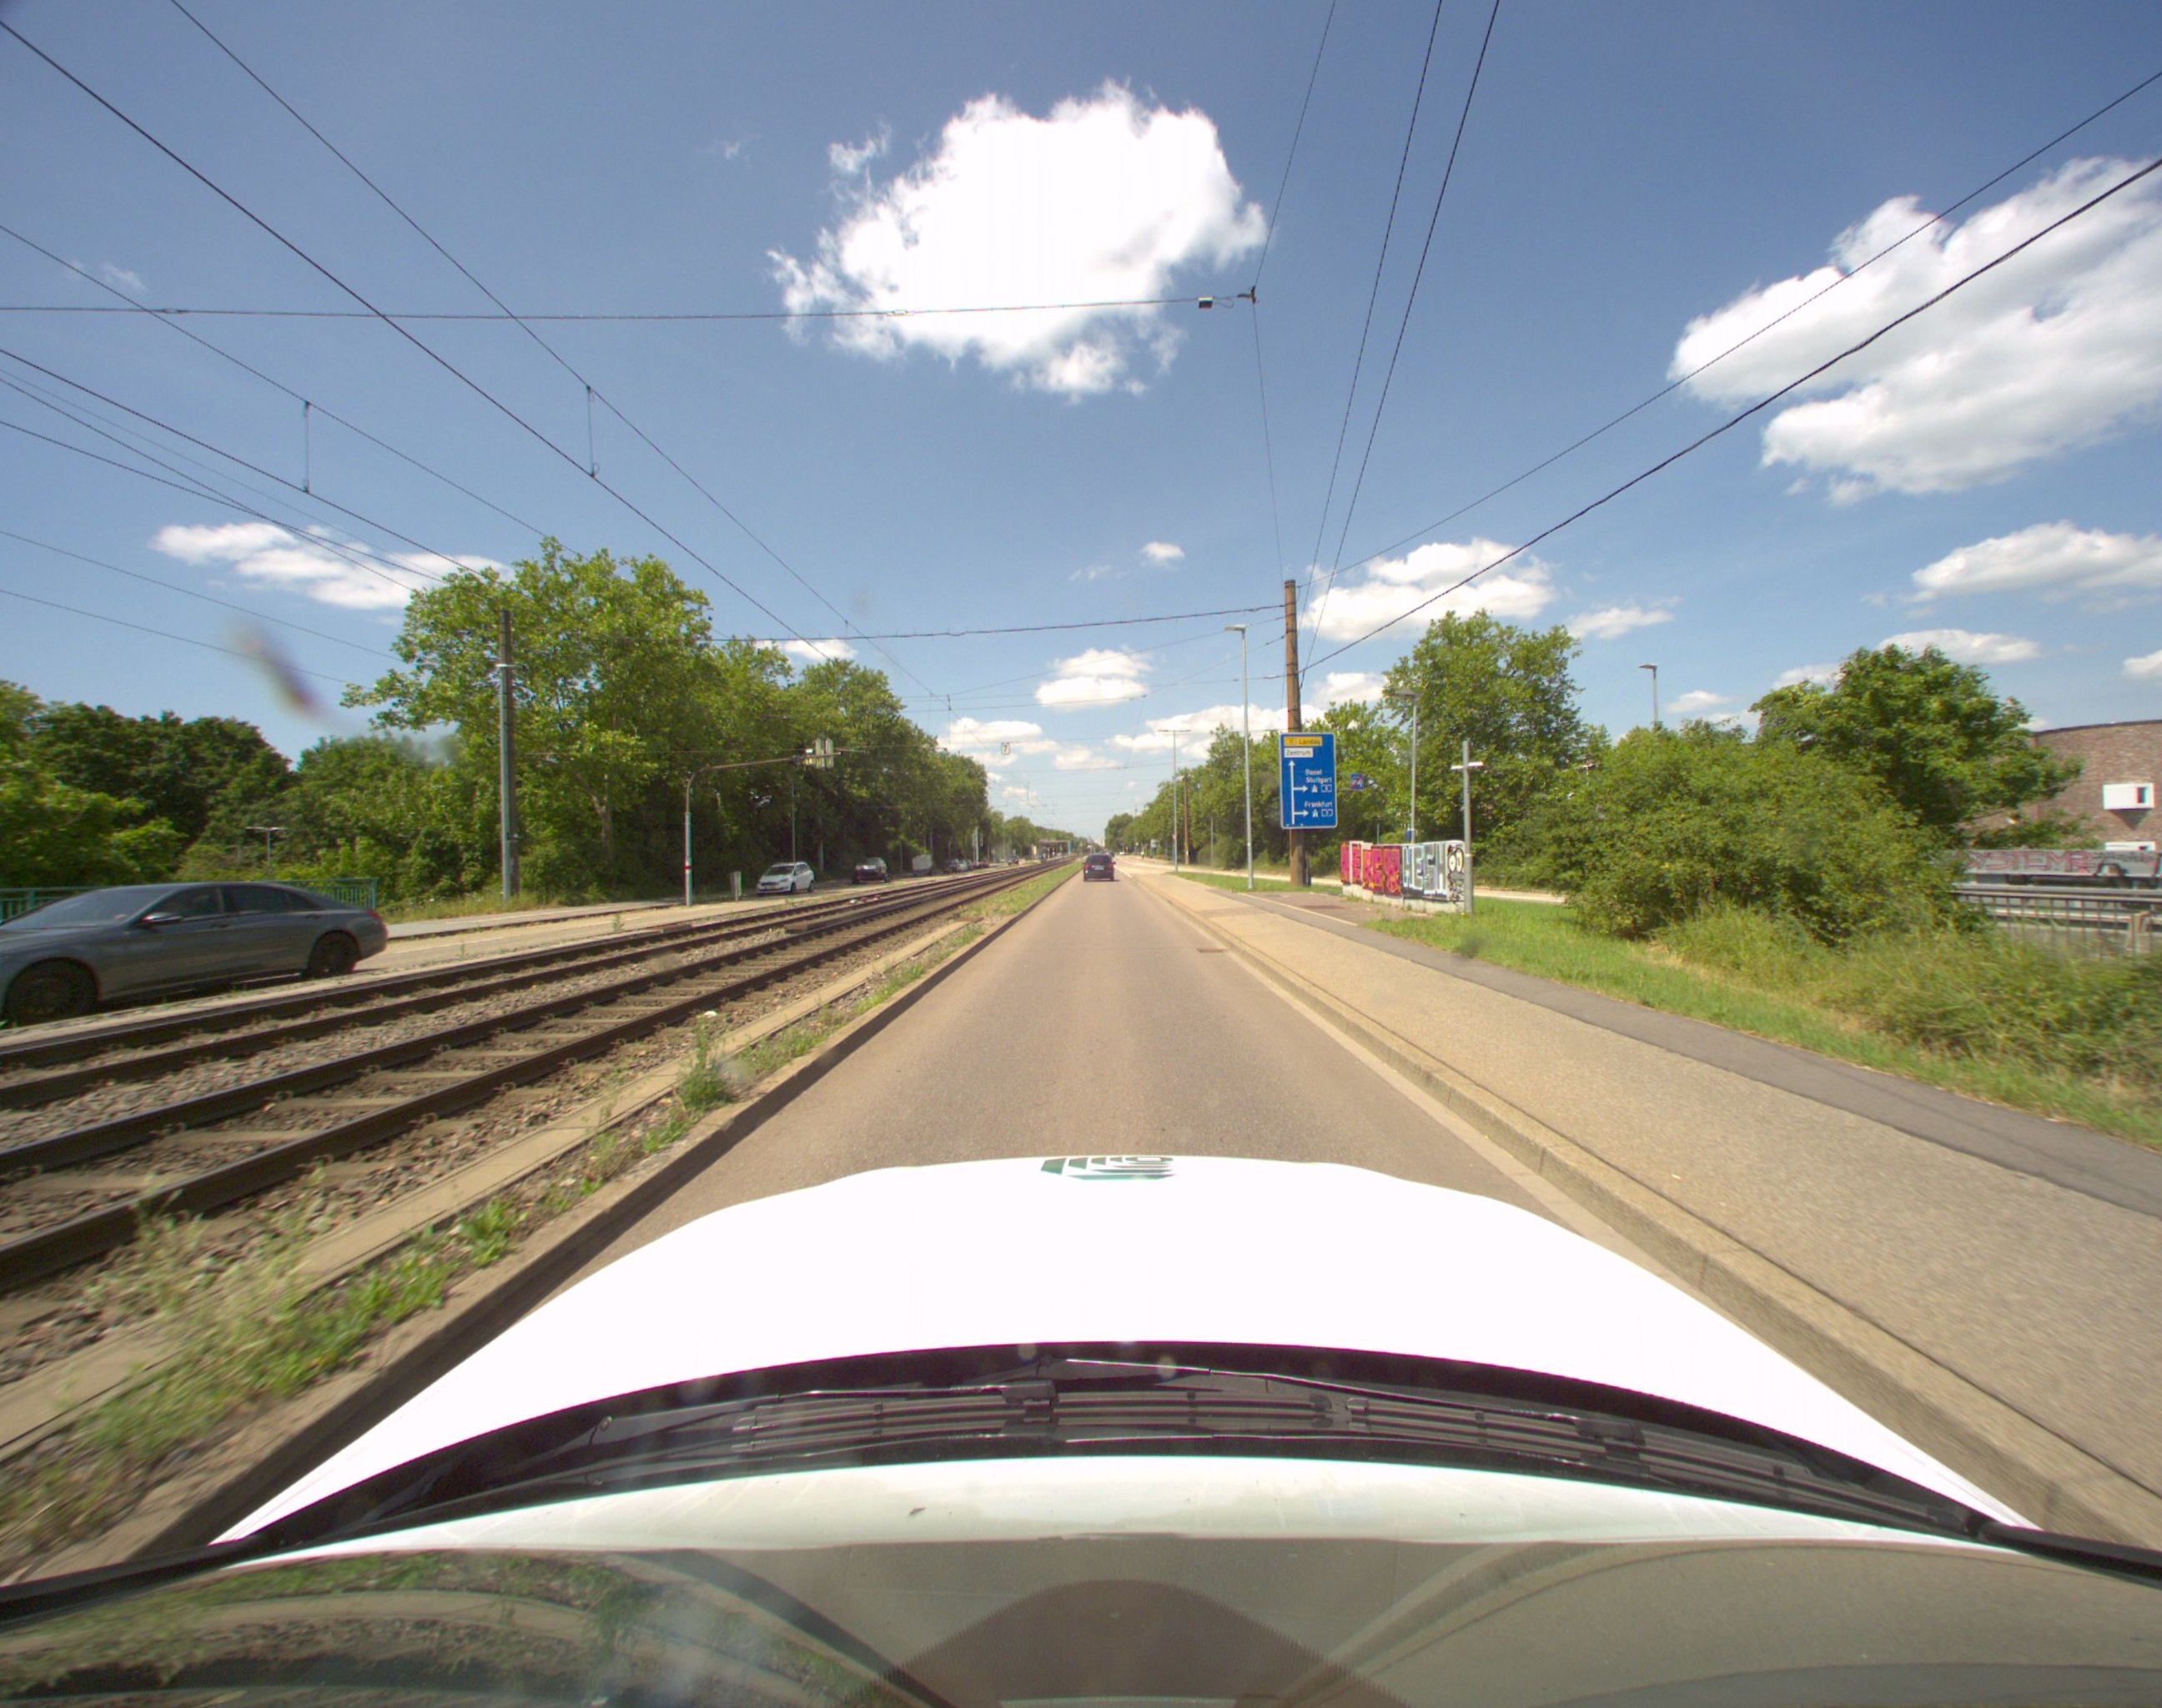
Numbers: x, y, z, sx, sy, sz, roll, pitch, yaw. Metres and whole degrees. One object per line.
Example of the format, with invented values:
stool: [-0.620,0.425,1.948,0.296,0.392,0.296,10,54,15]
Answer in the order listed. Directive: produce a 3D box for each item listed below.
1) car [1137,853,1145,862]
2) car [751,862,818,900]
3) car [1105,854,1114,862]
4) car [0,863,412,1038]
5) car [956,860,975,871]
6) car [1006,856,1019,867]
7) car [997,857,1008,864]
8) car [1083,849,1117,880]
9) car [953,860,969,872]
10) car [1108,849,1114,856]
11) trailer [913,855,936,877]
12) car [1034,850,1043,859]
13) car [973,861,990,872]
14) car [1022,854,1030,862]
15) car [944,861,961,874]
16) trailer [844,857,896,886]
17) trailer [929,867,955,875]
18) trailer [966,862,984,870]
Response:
car: [13.705,0.772,186.296,1.607,2.013,3.440,0,1,1]
car: [-15.454,1.344,42.701,1.714,1.630,4.616,-4,1,0]
car: [6.475,0.900,182.318,1.877,1.639,4.003,2,1,2]
car: [-11.714,1.008,10.392,1.869,1.720,5.331,-1,0,1]
car: [-14.945,1.471,105.570,1.865,1.401,4.416,-1,0,-1]
car: [-13.006,1.420,155.675,1.986,2.013,4.001,-2,0,1]
car: [-19.296,1.529,200.207,1.986,1.574,4.002,-1,0,2]
car: [1.133,0.566,47.526,1.846,1.570,4.391,0,2,2]
car: [-14.710,1.483,100.014,1.429,1.451,3.740,-1,0,-1]
car: [9.054,-0.383,242.547,1.780,2.013,4.002,0,1,1]
trailer: [-15.139,1.119,78.871,1.605,2.013,3.913,0,0,-2]
car: [-9.337,0.115,178.939,1.580,2.013,4.110,0,1,0]
car: [-15.053,1.917,123.676,1.987,1.574,4.000,-1,0,1]
car: [-13.461,0.980,199.895,1.989,2.013,3.996,0,1,-3]
car: [-14.822,1.581,94.050,1.429,1.451,3.920,-1,0,-1]
trailer: [-15.031,1.198,58.415,2.456,1.889,5.955,-1,0,-3]
trailer: [-14.590,1.756,85.632,1.987,0.742,4.000,-1,-1,1]
trailer: [-14.867,1.636,114.736,1.887,1.044,5.103,0,0,0]
